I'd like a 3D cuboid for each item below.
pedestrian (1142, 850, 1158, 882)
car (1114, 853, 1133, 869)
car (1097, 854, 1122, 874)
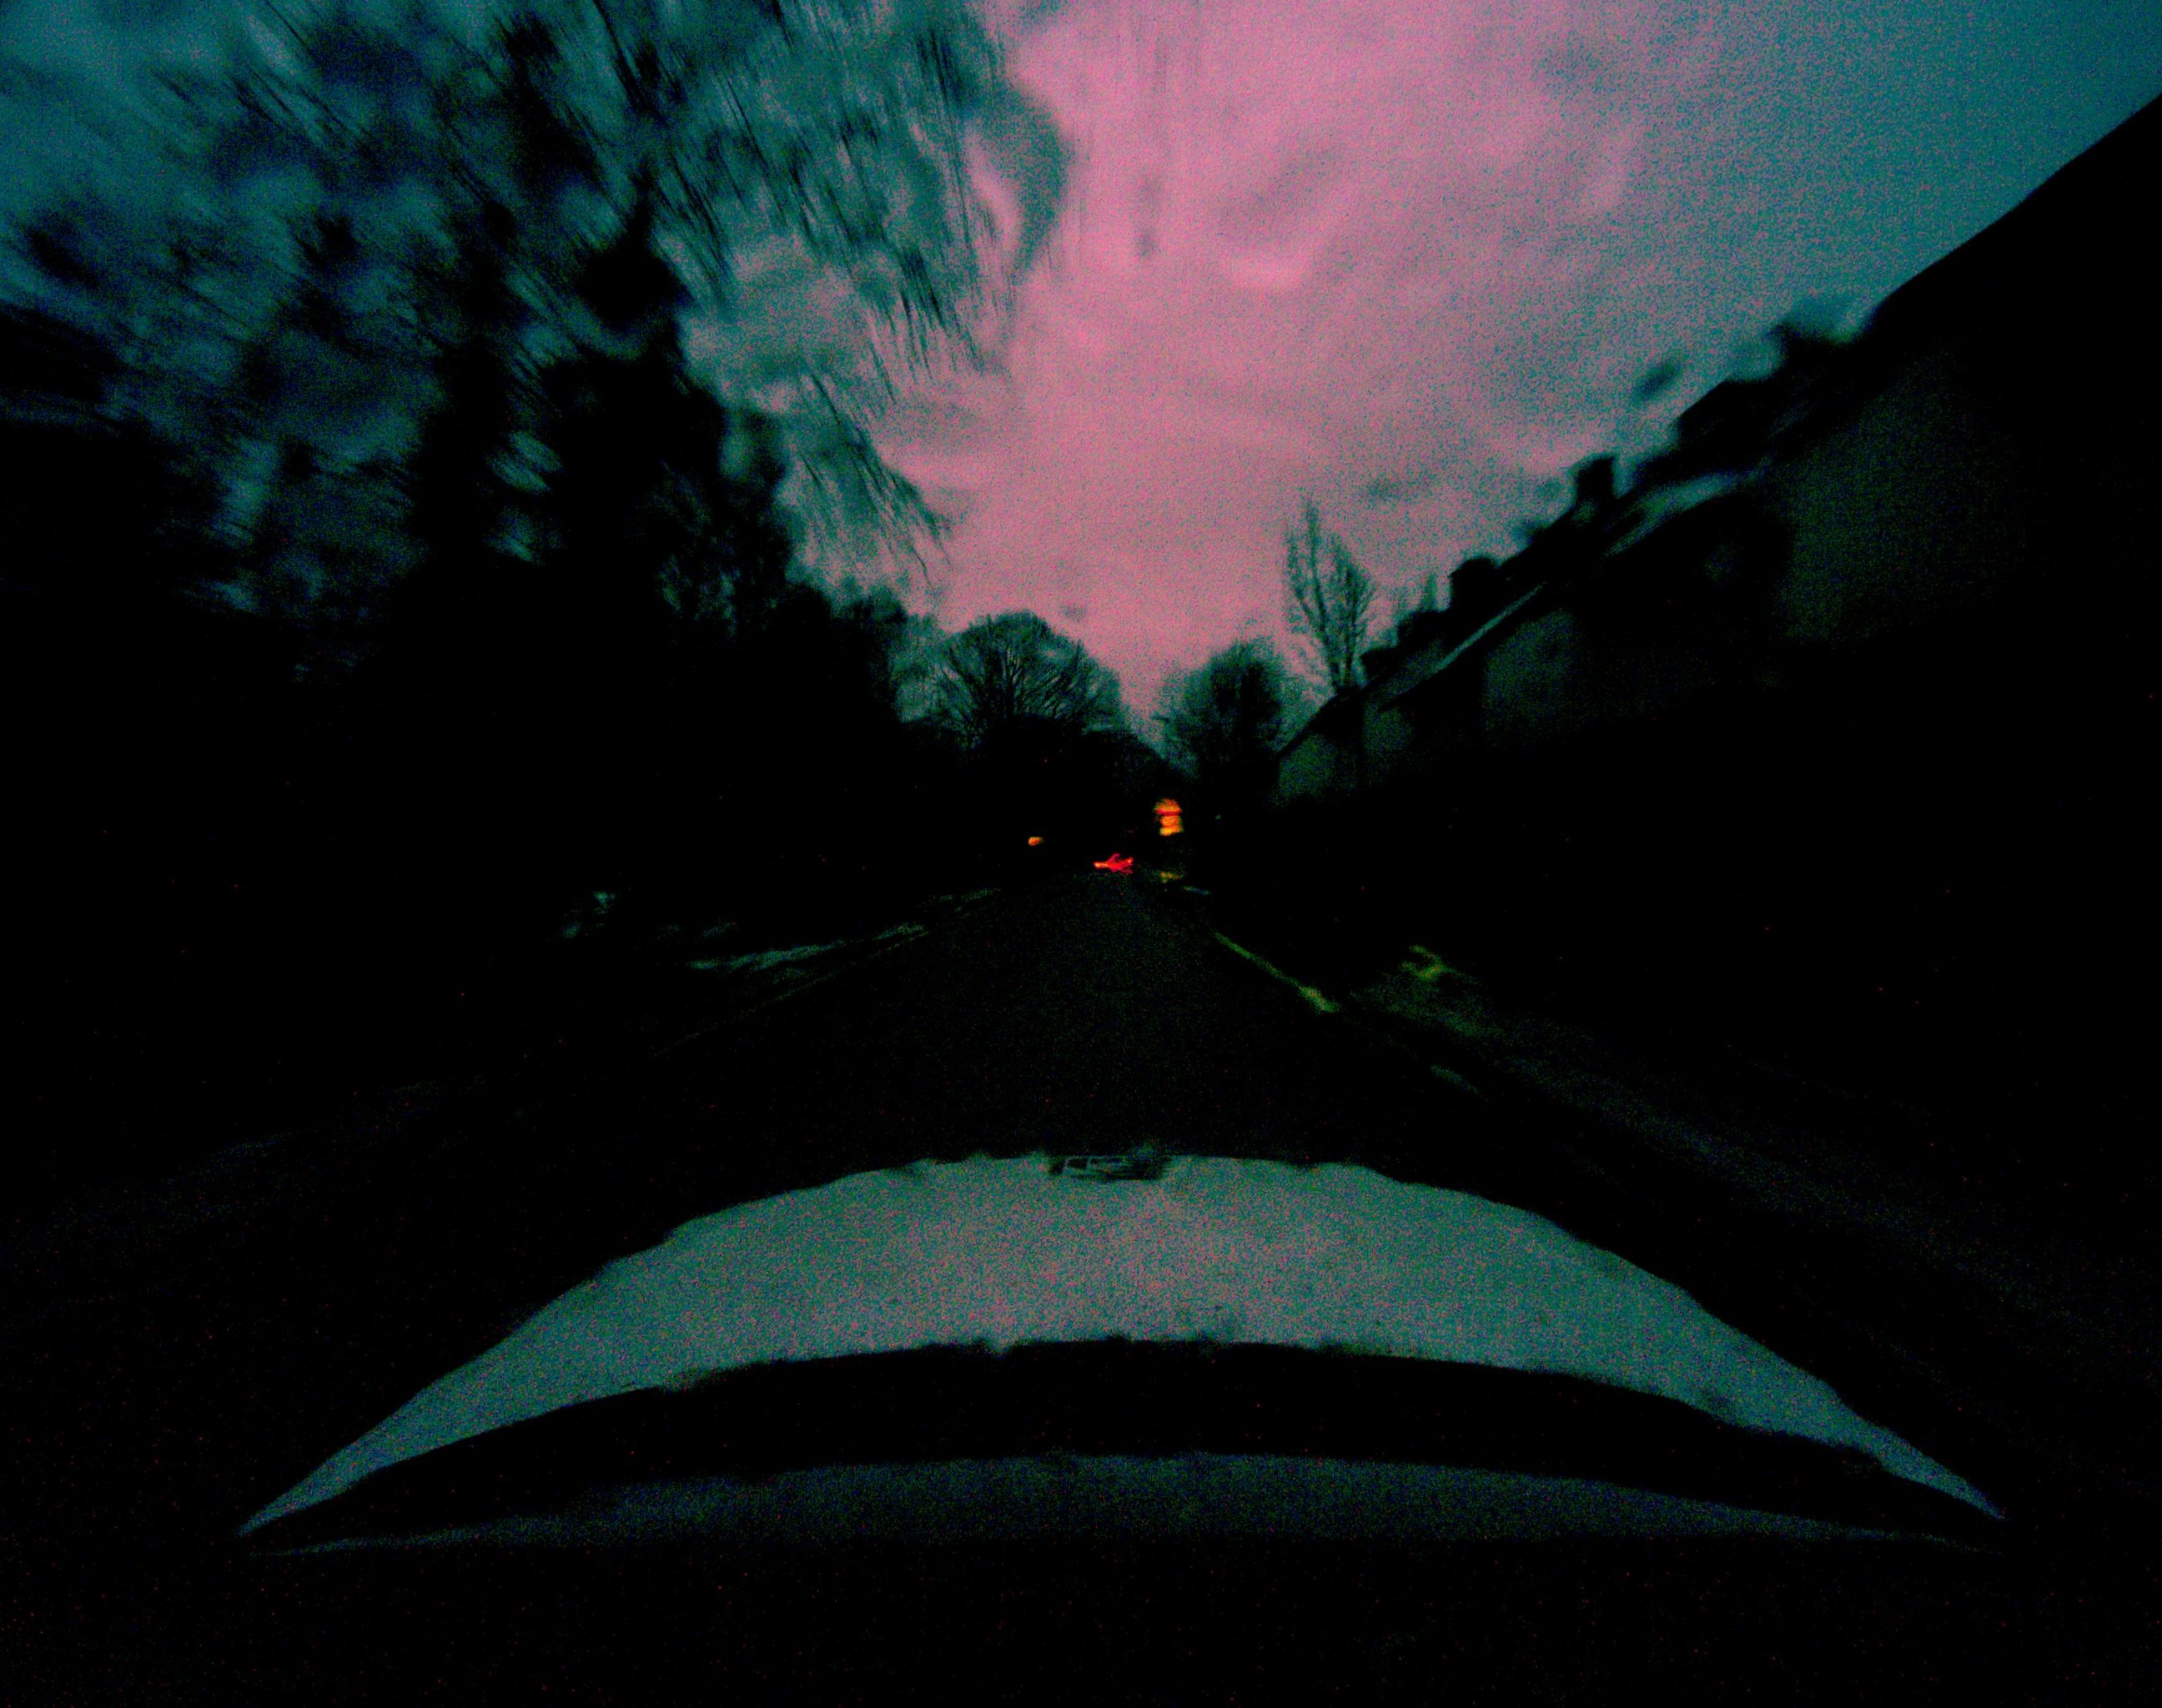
[{"bbox_3d":[3.658,0.616,43.104,0.741,1.655,0.970,-2,0,0],"label":"pedestrian"},{"bbox_3d":[4.664,0.749,89.657,1.926,1.676,4.001,-2,0,1],"label":"car"},{"bbox_3d":[2.709,0.932,76.947,1.922,1.781,4.009,-2,0,8],"label":"car"}]
